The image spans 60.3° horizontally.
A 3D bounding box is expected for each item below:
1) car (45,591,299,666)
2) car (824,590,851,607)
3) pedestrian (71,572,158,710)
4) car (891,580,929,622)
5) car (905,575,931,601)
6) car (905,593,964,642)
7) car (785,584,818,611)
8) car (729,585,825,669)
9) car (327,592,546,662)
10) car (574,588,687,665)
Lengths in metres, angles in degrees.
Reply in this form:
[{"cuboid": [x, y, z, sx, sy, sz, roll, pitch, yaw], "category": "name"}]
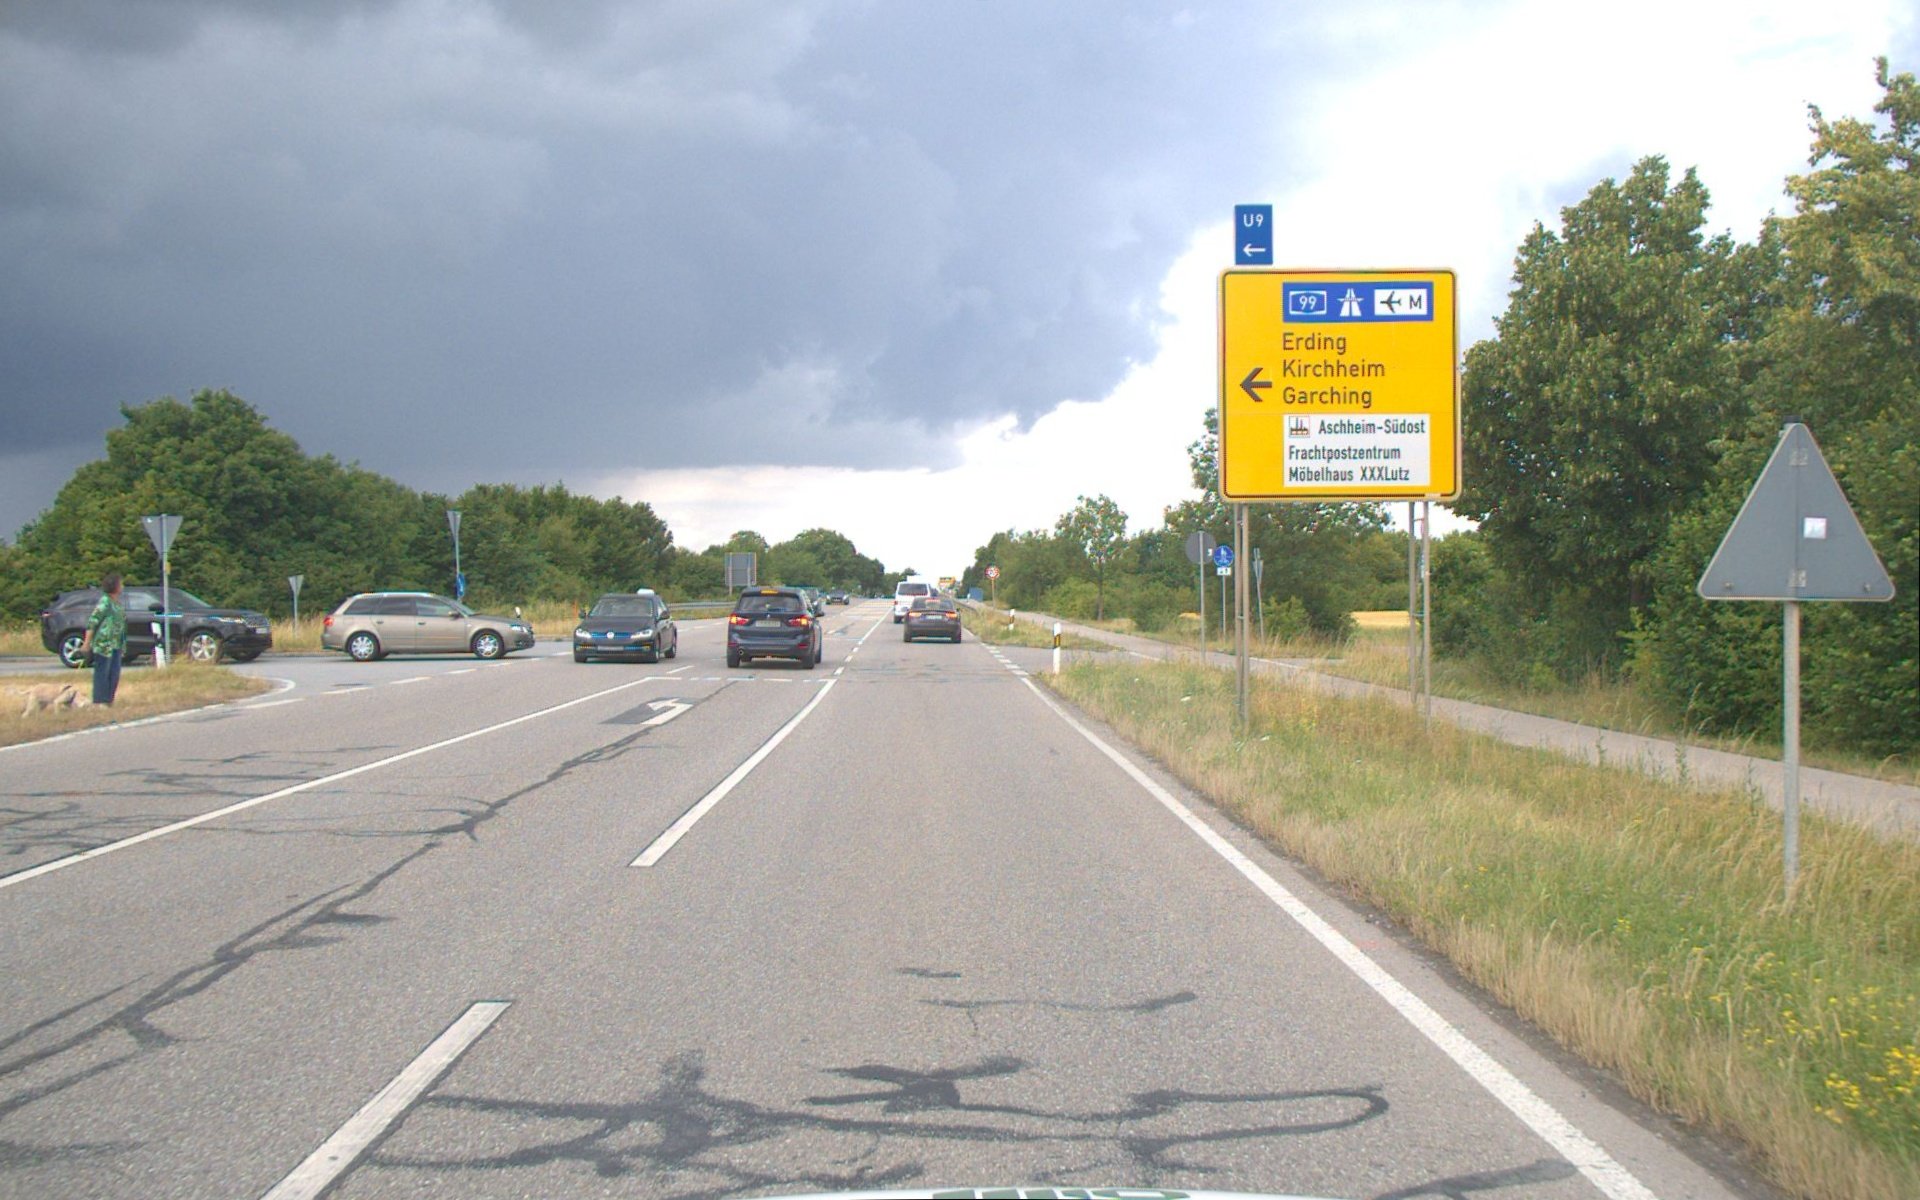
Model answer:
[{"cuboid": [-17.112, 0.613, 36.028, 4.639, 1.558, 1.912, -1, 0, 5], "category": "car"}, {"cuboid": [-10.510, -0.153, 141.810, 2.121, 1.307, 4.235, 2, 0, -2], "category": "car"}, {"cuboid": [-10.427, 0.495, 20.420, 0.581, 1.633, 0.865, -3, 0, -4], "category": "pedestrian"}, {"cuboid": [-2.411, 0.054, 79.826, 1.750, 1.923, 3.999, 1, 0, -2], "category": "car"}, {"cuboid": [-4.108, -1.184, 162.000, 2.398, 2.548, 5.040, 1, 1, -1], "category": "car"}, {"cuboid": [-0.828, 0.534, 52.308, 1.750, 1.448, 3.999, 1, 0, -2], "category": "car"}, {"cuboid": [-9.590, -0.177, 100.152, 1.707, 1.557, 4.197, 1, 1, -2], "category": "car"}, {"cuboid": [-3.781, 0.530, 34.715, 1.668, 1.639, 4.480, 1, 0, -2], "category": "car"}, {"cuboid": [-11.542, 0.572, 36.735, 4.369, 1.449, 1.907, -1, 0, -10], "category": "car"}, {"cuboid": [-7.131, 0.548, 36.180, 1.645, 1.548, 4.394, 1, 0, -1], "category": "car"}]
